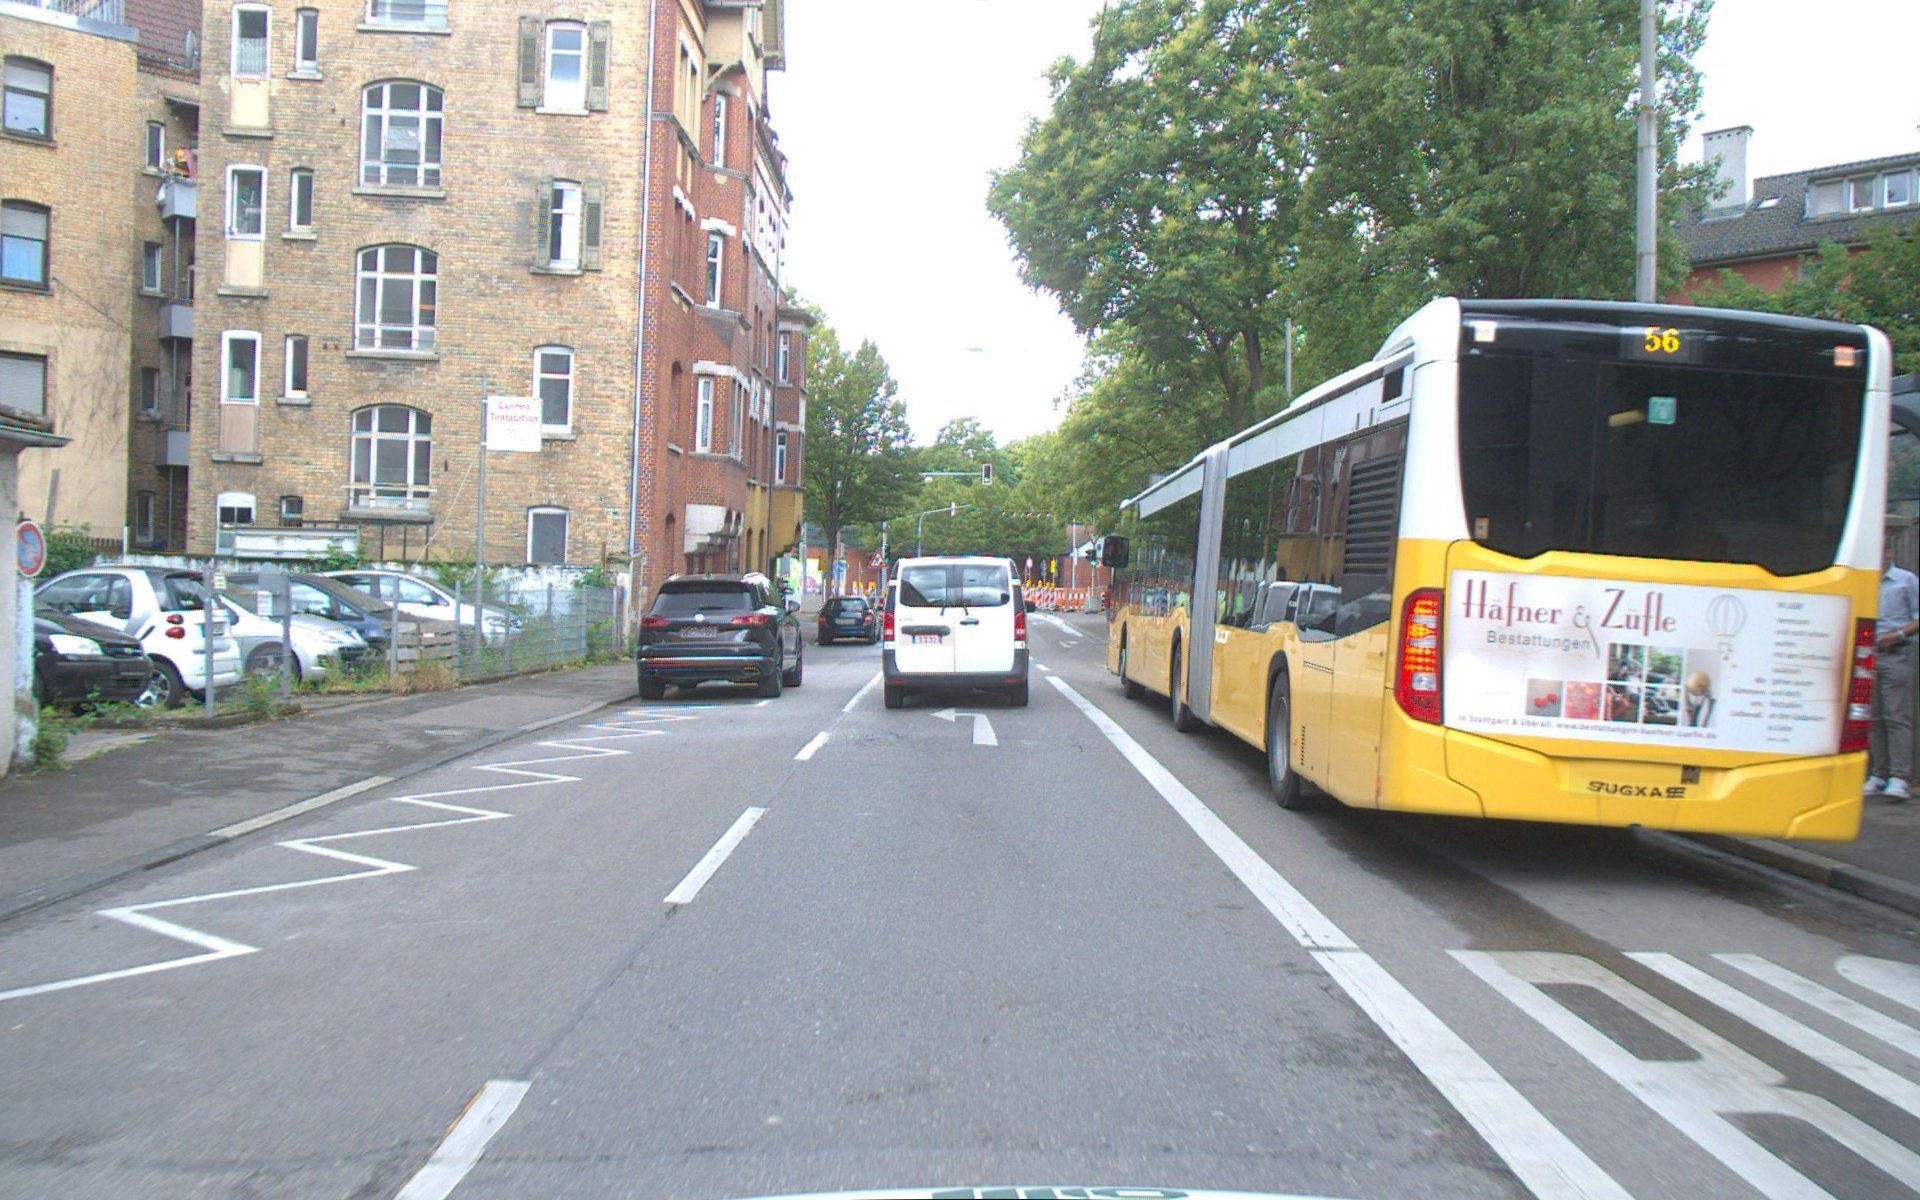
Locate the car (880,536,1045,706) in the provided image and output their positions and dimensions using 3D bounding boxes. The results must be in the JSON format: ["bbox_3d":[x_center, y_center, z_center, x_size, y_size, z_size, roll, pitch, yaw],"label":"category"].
[{"bbox_3d":[-0.021,0.320,22.279,1.879,1.935,4.699,4,-2,-1],"label":"car"}]

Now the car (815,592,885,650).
[{"bbox_3d":[-3.305,0.587,50.320,1.689,1.511,4.392,2,2,1],"label":"car"}]

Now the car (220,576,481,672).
[{"bbox_3d":[-9.561,0.368,26.097,3.522,1.439,1.547,0,0,0],"label":"car"}]

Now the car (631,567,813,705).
[{"bbox_3d":[-3.336,0.449,24.081,1.914,1.764,4.774,1,1,0],"label":"car"}]

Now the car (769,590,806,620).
[{"bbox_3d":[-10.018,0.275,95.789,1.998,1.511,4.383,1,2,-8],"label":"car"}]

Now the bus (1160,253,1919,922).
[{"bbox_3d":[3.547,-0.076,13.248,2.608,3.190,10.040,3,0,0],"label":"bus"}]

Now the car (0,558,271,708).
[{"bbox_3d":[-9.525,0.353,18.563,2.788,1.592,1.853,0,0,0],"label":"car"}]

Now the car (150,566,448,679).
[{"bbox_3d":[-9.421,0.312,23.788,3.522,1.531,1.853,0,0,0],"label":"car"}]

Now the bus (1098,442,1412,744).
[{"bbox_3d":[3.638,-0.087,22.853,2.617,3.193,9.218,3,0,0],"label":"bus"}]

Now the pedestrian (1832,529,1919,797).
[{"bbox_3d":[6.514,0.422,11.553,0.441,1.810,0.672,-2,0,0],"label":"pedestrian"}]

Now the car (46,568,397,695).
[{"bbox_3d":[-9.366,0.382,21.203,3.646,1.531,1.853,0,0,0],"label":"car"}]

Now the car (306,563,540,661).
[{"bbox_3d":[-9.351,0.208,28.960,3.522,1.640,1.688,0,0,0],"label":"car"}]

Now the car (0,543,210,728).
[{"bbox_3d":[-9.507,0.333,15.956,3.685,1.672,1.853,0,0,0],"label":"car"}]

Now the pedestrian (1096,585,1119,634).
[{"bbox_3d":[5.721,0.352,64.184,0.763,1.863,0.728,-2,0,1],"label":"pedestrian"}]
